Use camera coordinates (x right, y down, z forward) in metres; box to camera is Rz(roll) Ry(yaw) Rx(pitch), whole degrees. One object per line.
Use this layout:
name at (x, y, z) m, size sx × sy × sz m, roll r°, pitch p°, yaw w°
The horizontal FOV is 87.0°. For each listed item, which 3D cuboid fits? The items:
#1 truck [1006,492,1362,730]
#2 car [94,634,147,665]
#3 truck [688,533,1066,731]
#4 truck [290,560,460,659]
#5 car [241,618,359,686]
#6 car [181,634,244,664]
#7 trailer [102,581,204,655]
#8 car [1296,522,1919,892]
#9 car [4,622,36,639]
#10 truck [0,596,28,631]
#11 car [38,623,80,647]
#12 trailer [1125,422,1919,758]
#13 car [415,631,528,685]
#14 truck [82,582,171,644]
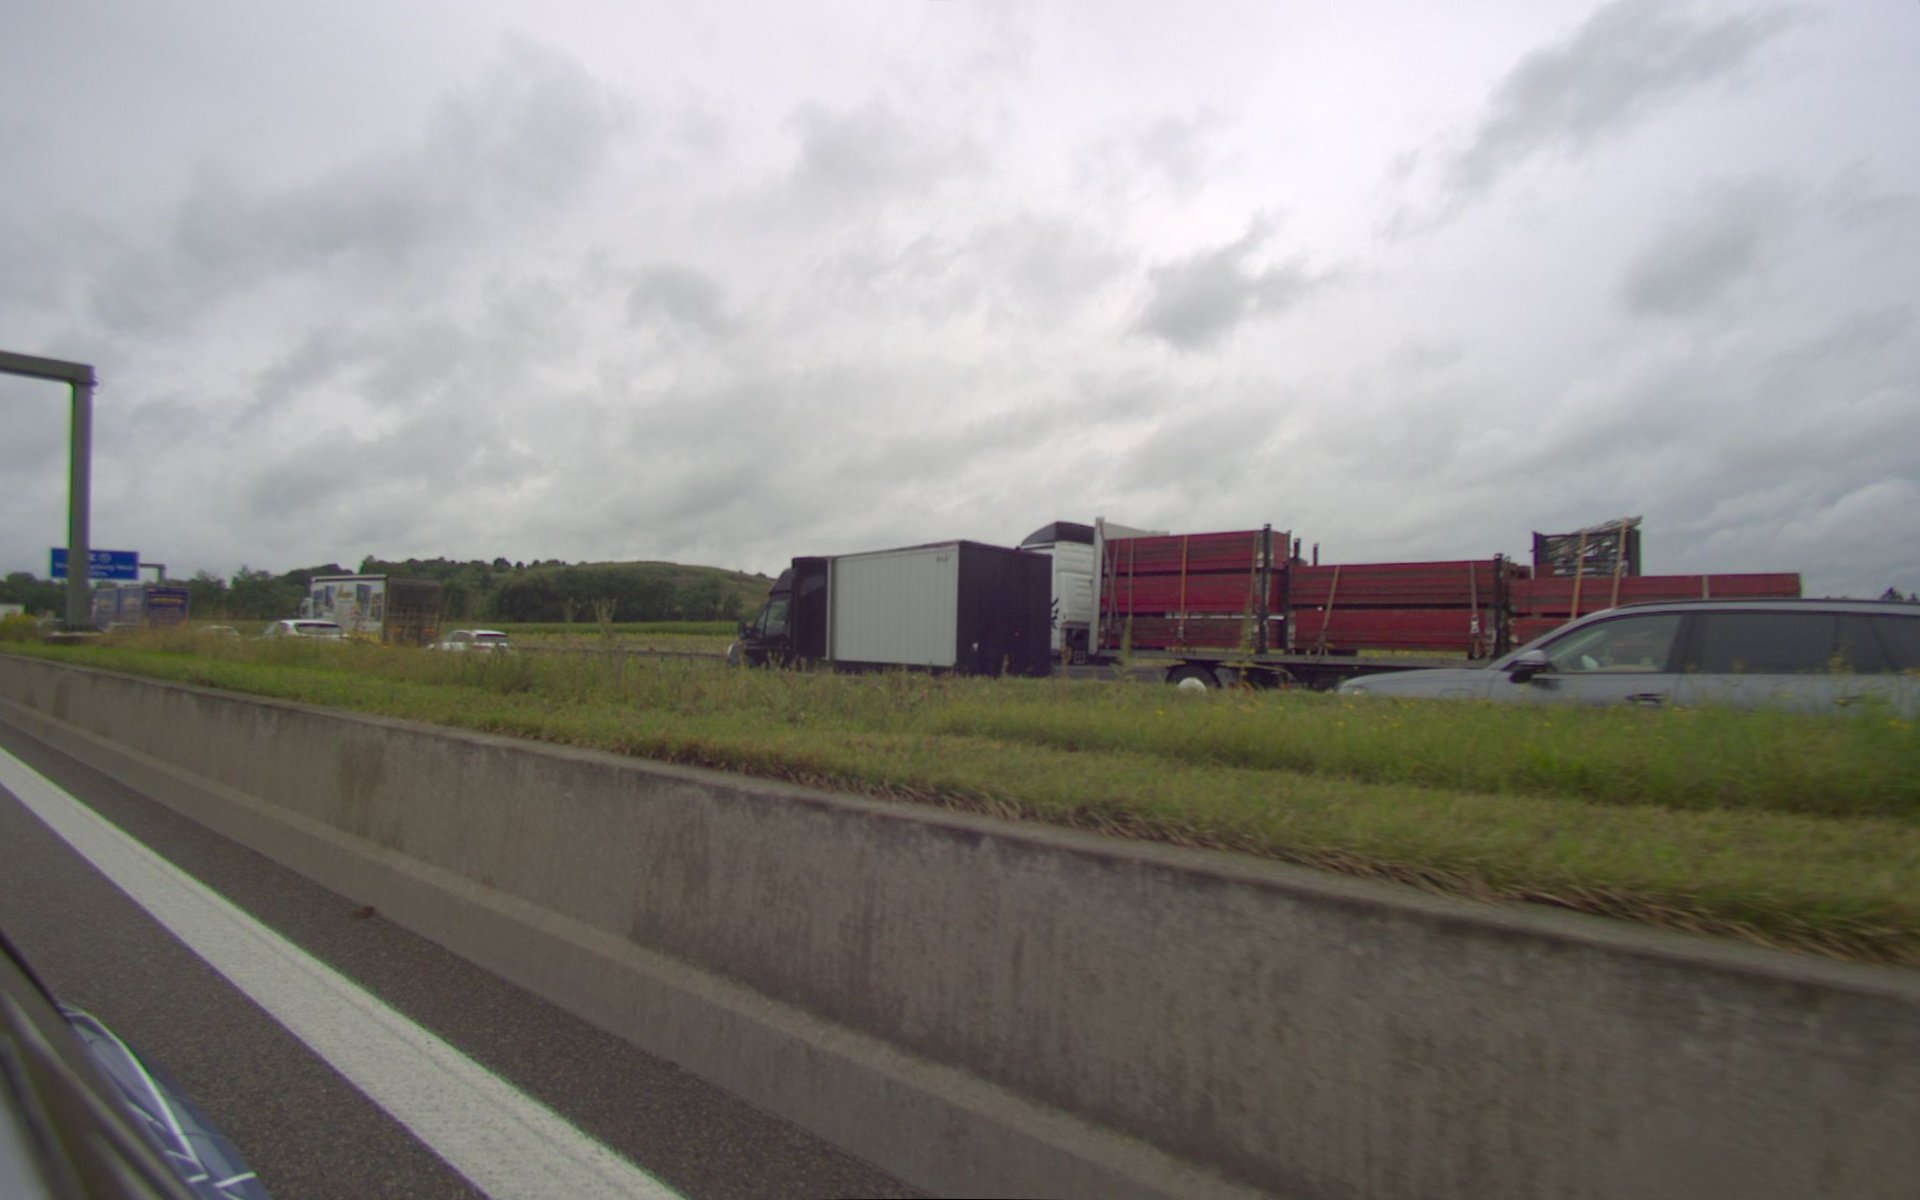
truck at (4.007, 0.261, 18.879) m, size 5.868 × 3.754 × 2.613 m, roll -3°, pitch -1°, yaw 41°
car at (-49.108, 2.850, 59.192) m, size 3.998 × 1.721 × 1.736 m, roll -1°, pitch -2°, yaw 41°
truck at (-1.790, 0.488, 18.279) m, size 7.420 × 2.930 × 2.287 m, roll -1°, pitch 0°, yaw 41°
truck at (-29.638, 0.463, 50.932) m, size 11.776 × 4.517 × 3.477 m, roll -1°, pitch 0°, yaw 39°
car at (-18.568, 1.389, 28.415) m, size 3.998 × 1.730 × 1.762 m, roll -1°, pitch 0°, yaw 41°
car at (-43.967, 2.855, 59.477) m, size 5.010 × 1.628 × 1.863 m, roll -1°, pitch -2°, yaw 40°
trailer at (-56.969, 1.255, 71.265) m, size 11.671 × 4.804 × 3.353 m, roll -1°, pitch 0°, yaw 40°
car at (5.075, 0.628, 7.063) m, size 4.798 × 2.029 × 1.973 m, roll -1°, pitch -2°, yaw 41°
car at (-98.409, 3.198, 105.943) m, size 3.997 × 1.696 × 1.973 m, roll -1°, pitch 0°, yaw 41°
truck at (-114.297, 1.630, 120.934) m, size 10.806 × 3.997 × 3.150 m, roll -1°, pitch 0°, yaw 42°
car at (-68.184, 2.623, 76.574) m, size 3.998 × 1.798 × 1.847 m, roll -1°, pitch -2°, yaw 41°
trailer at (8.431, 0.021, 15.075) m, size 12.186 × 3.754 × 2.613 m, roll -3°, pitch -1°, yaw 41°
car at (-17.680, 2.029, 36.537) m, size 4.835 × 1.730 × 1.973 m, roll -1°, pitch 0°, yaw 41°
truck at (-63.123, 0.923, 76.502) m, size 10.985 × 4.396 × 3.377 m, roll -1°, pitch 0°, yaw 41°
